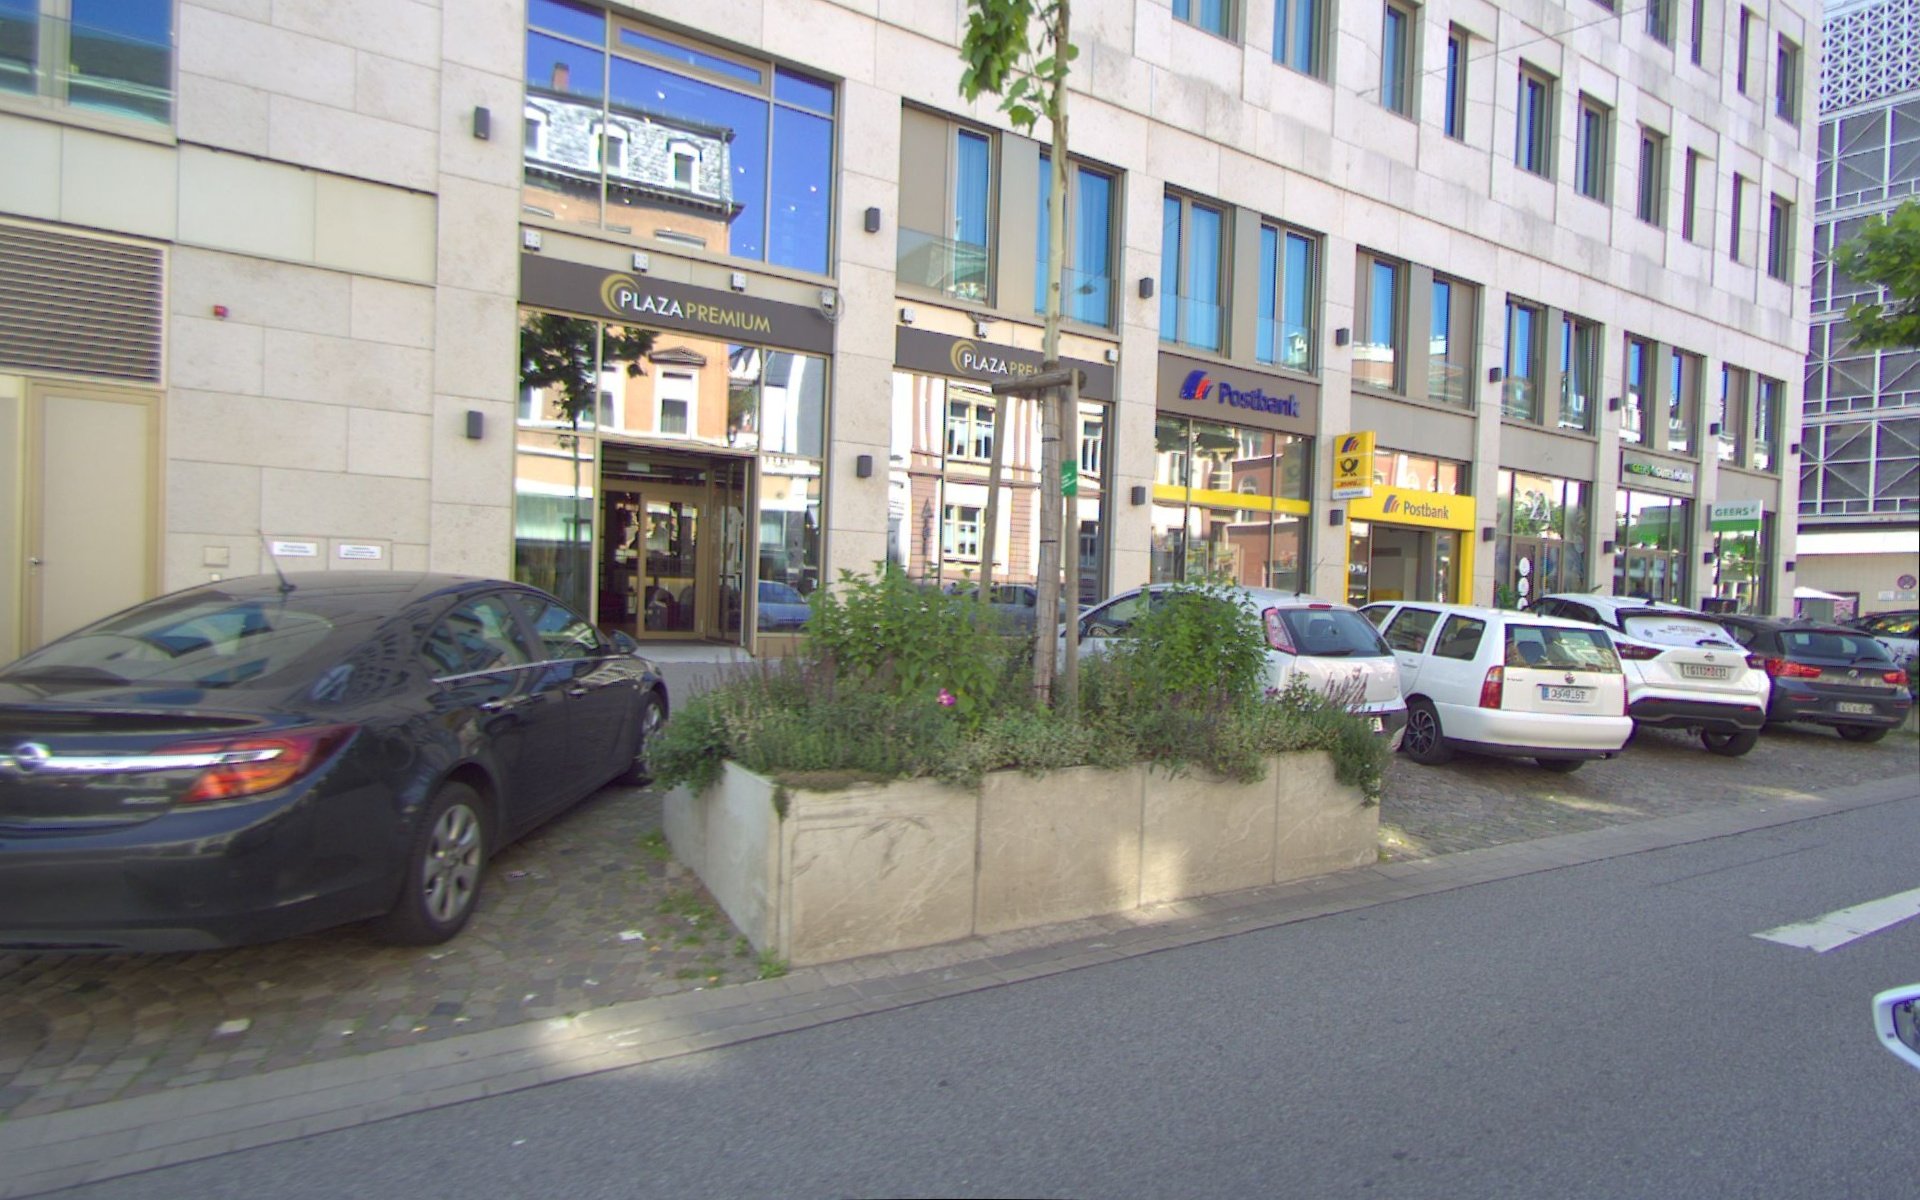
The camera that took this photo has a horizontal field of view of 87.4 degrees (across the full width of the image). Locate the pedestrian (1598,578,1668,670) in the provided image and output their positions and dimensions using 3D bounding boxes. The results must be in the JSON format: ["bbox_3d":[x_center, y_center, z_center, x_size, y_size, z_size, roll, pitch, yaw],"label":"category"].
[{"bbox_3d":[14.636,0.522,21.866,0.834,1.904,0.834,1,4,-30],"label":"pedestrian"}]

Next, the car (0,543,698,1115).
[{"bbox_3d":[-2.875,0.553,5.180,1.757,1.525,4.530,4,4,0],"label":"car"}]

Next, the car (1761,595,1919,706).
[{"bbox_3d":[16.810,0.937,17.293,2.071,1.659,4.149,2,4,-21],"label":"car"}]

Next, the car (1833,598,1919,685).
[{"bbox_3d":[19.593,0.902,19.220,1.922,1.624,4.029,3,2,-7],"label":"car"}]

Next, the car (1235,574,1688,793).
[{"bbox_3d":[4.766,0.660,10.489,1.830,1.452,4.491,3,5,-10],"label":"car"}]

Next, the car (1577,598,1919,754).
[{"bbox_3d":[10.486,0.868,13.570,1.751,1.469,4.319,3,3,4],"label":"car"}]

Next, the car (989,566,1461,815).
[{"bbox_3d":[2.116,0.621,9.158,1.800,1.548,3.966,3,3,-30],"label":"car"}]

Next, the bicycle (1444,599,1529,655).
[{"bbox_3d":[11.085,0.566,21.127,2.136,1.122,0.493,1,3,-31],"label":"bicycle"}]

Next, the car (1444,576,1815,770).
[{"bbox_3d":[7.706,0.695,12.142,1.783,1.615,4.037,4,5,3],"label":"car"}]
